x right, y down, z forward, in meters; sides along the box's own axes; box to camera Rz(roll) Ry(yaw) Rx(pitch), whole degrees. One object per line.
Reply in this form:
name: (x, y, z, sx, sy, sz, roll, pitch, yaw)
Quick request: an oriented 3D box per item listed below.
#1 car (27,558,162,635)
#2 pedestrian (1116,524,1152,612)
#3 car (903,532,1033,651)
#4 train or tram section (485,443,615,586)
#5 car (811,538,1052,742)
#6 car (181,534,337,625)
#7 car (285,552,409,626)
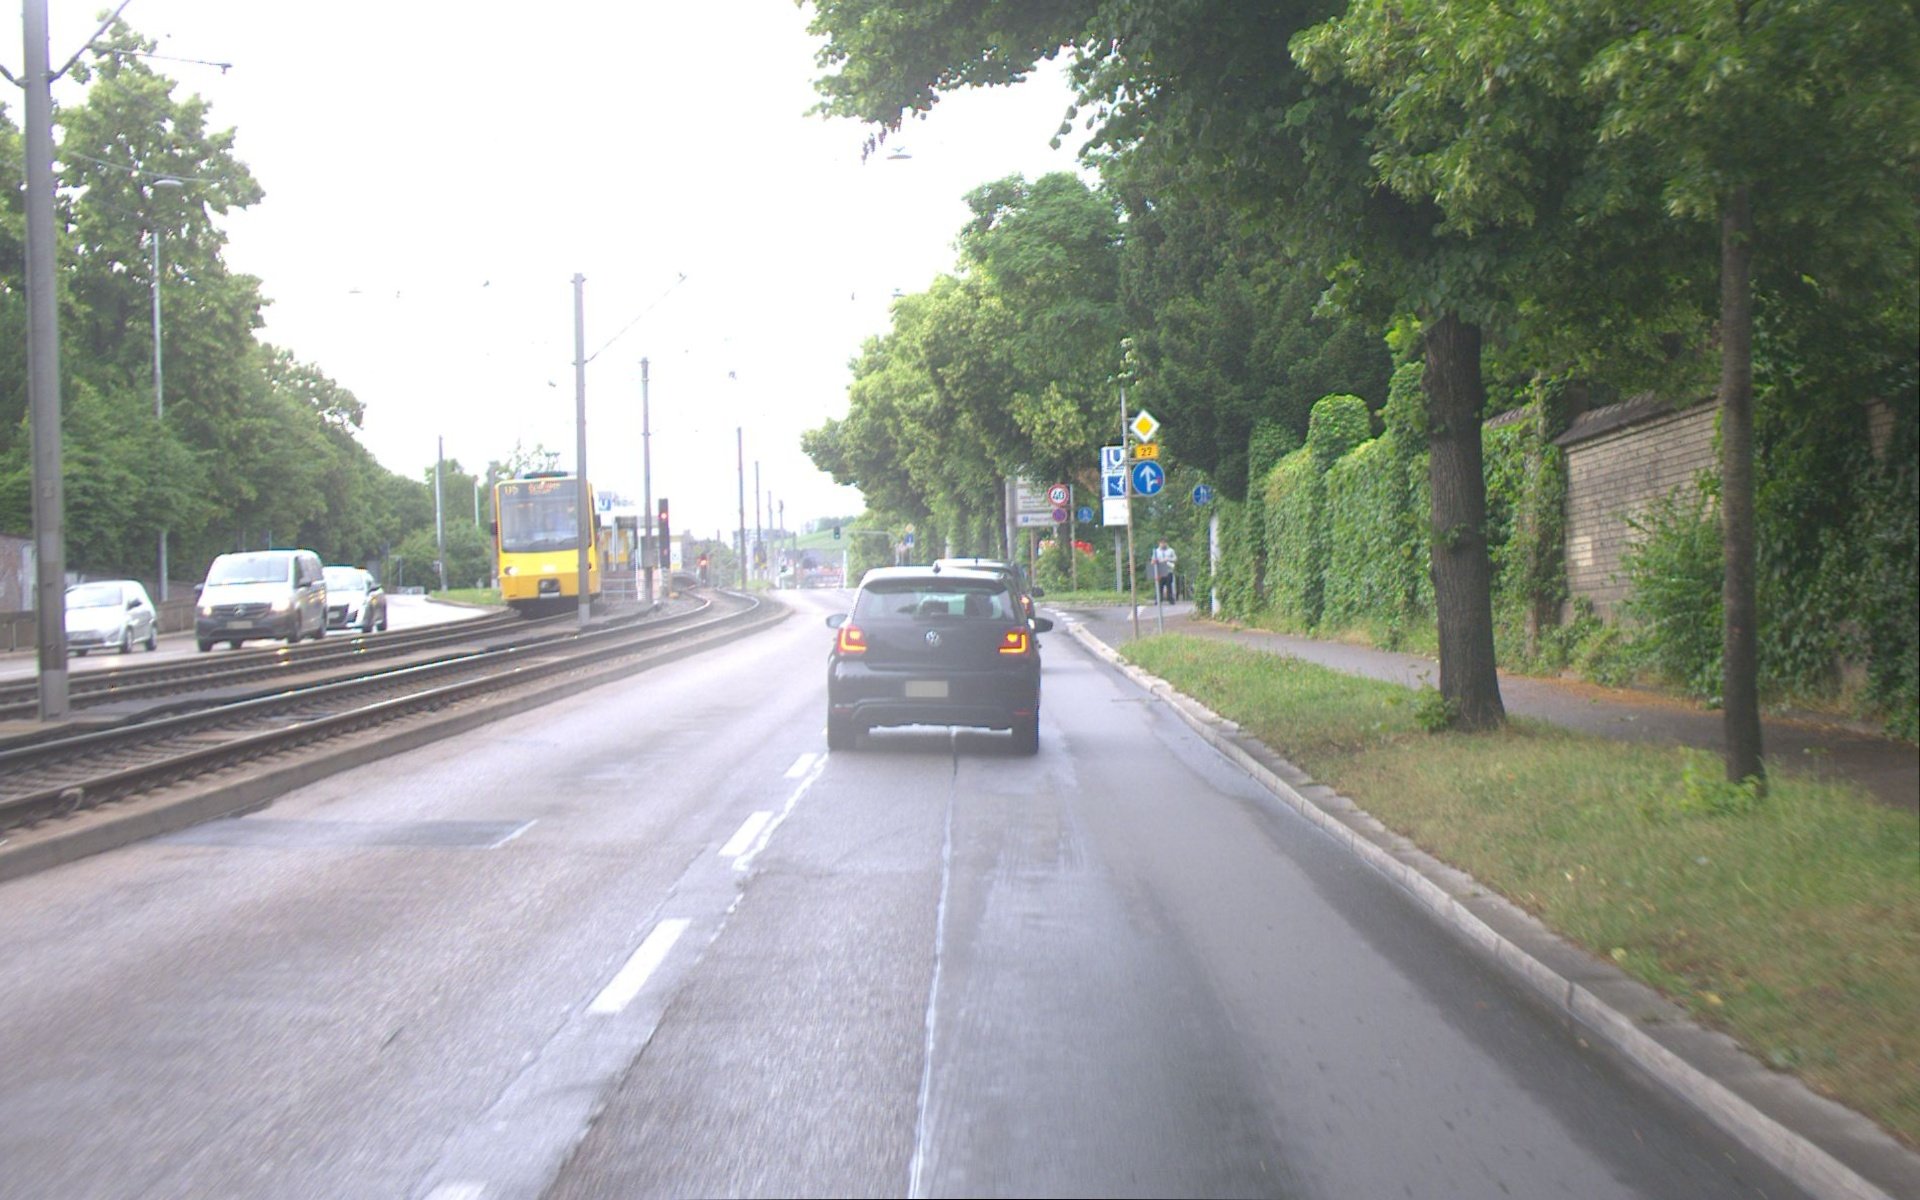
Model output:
car: (-17.176, -0.090, 68.390, 1.728, 1.438, 4.000, 0, 1, -1)
pedestrian: (5.909, -1.103, 116.887, 1.164, 2.967, 0.948, 0, 1, -1)
car: (0.123, -0.148, 47.014, 1.676, 1.525, 3.722, -1, 1, 0)
train or tram section: (-10.830, -2.253, 91.503, 2.832, 3.593, 9.272, 0, 1, -3)
car: (-0.263, 0.265, 27.748, 1.794, 1.480, 3.965, 1, 1, -1)
car: (-13.427, -0.428, 66.153, 1.993, 1.656, 5.127, 0, 1, -1)
car: (-13.616, -0.270, 76.624, 1.993, 1.571, 4.535, 0, 1, -1)
